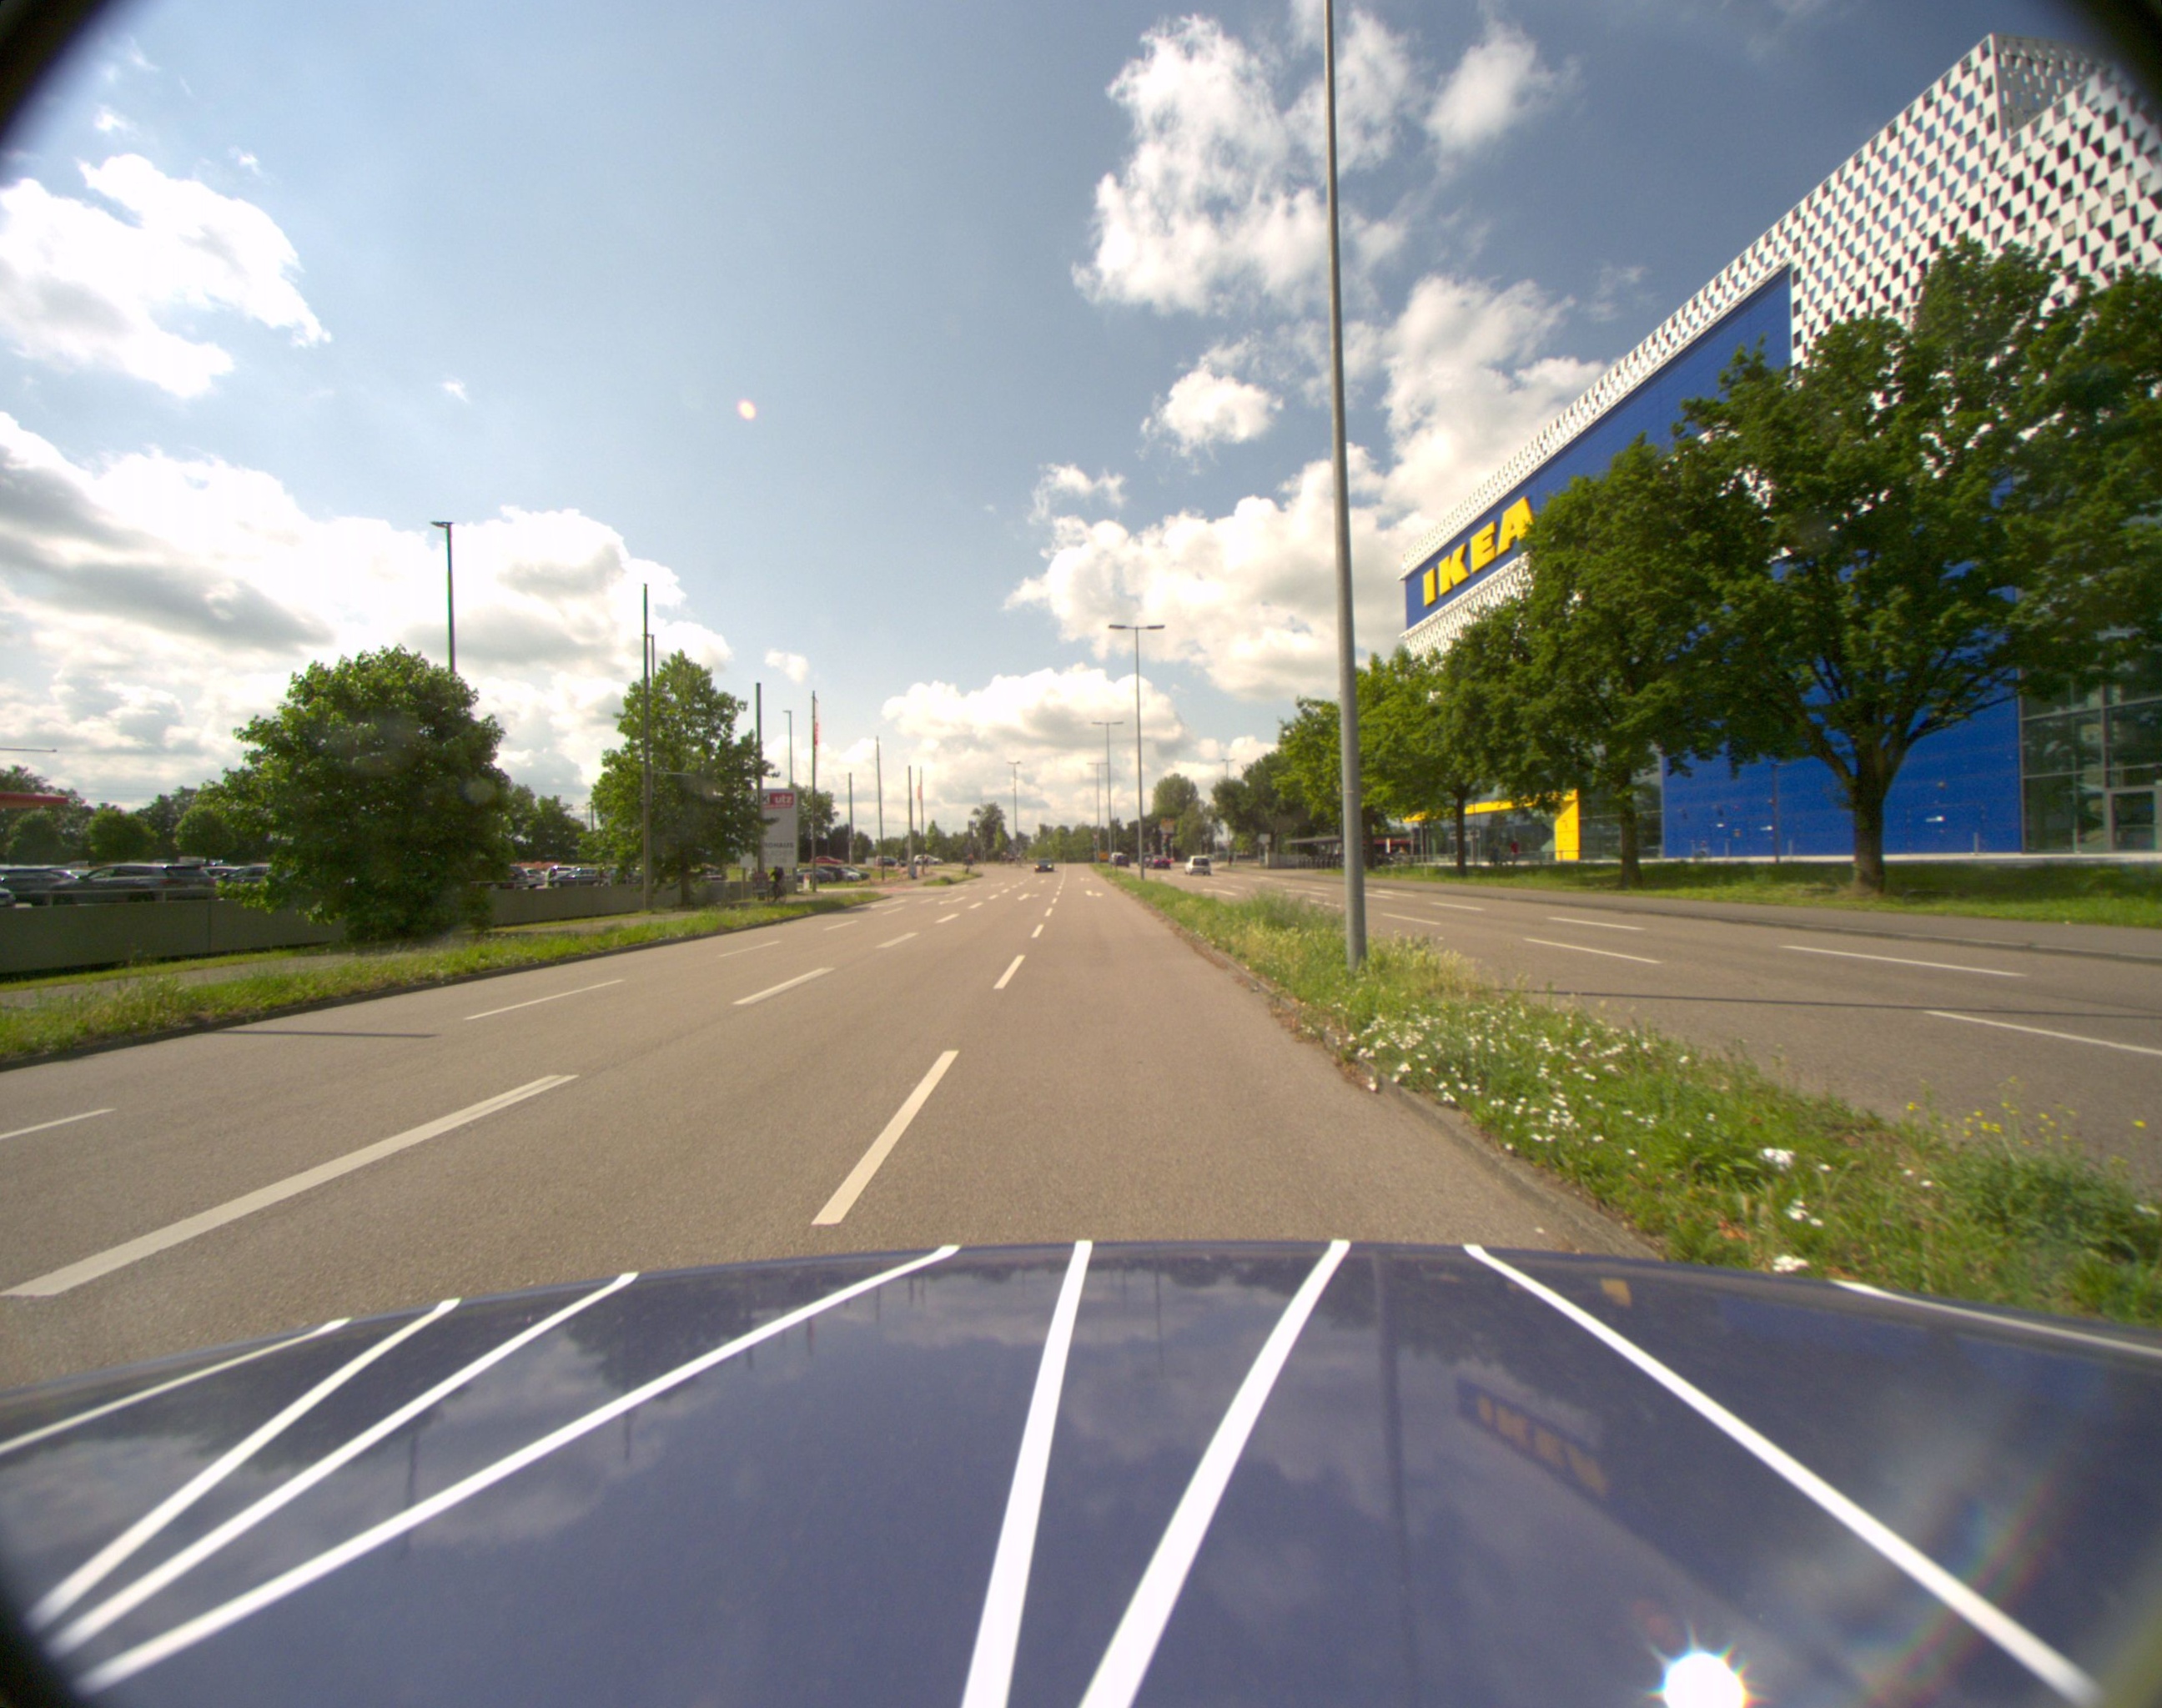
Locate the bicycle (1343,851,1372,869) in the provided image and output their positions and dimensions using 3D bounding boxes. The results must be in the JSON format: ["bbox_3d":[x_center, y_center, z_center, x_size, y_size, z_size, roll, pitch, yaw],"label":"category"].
[{"bbox_3d":[20.477,0.478,56.322,1.930,1.265,0.630,-2,0,-1],"label":"bicycle"}]

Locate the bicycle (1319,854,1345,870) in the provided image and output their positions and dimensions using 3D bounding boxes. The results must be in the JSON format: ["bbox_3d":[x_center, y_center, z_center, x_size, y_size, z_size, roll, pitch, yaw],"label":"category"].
[{"bbox_3d":[20.594,0.676,62.299,1.930,1.265,0.630,-2,0,-1],"label":"bicycle"}]

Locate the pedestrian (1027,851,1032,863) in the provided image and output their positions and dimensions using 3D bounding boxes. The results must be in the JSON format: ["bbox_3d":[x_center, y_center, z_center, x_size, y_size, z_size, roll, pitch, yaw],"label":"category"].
[{"bbox_3d":[-6.959,0.413,103.105,0.556,1.515,0.470,-2,0,8],"label":"pedestrian"}]

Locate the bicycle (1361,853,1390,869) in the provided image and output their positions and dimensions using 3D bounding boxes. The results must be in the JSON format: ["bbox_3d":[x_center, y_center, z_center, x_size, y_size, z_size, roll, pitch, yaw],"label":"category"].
[{"bbox_3d":[22.677,0.575,58.547,1.930,1.172,0.630,-2,0,-1],"label":"bicycle"}]

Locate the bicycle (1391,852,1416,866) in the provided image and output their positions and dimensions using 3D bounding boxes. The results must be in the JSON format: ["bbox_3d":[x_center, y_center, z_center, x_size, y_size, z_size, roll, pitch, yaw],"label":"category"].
[{"bbox_3d":[28.571,0.428,67.241,1.950,1.236,0.597,-1,1,-5],"label":"bicycle"}]

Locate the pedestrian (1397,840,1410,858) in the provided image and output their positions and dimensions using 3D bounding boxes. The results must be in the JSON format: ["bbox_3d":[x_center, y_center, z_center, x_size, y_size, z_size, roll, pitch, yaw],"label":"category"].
[{"bbox_3d":[30.923,-0.444,72.837,0.898,1.697,0.710,-1,1,-1],"label":"pedestrian"}]

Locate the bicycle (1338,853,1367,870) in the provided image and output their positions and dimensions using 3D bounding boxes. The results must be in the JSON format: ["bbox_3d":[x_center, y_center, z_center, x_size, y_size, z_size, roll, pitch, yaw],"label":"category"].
[{"bbox_3d":[20.531,0.559,57.417,1.930,1.176,0.630,-2,0,-1],"label":"bicycle"}]

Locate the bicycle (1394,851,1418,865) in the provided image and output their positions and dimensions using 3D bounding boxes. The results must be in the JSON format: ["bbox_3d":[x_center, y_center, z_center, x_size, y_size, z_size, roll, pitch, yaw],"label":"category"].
[{"bbox_3d":[29.070,0.320,67.972,1.939,1.202,0.529,-1,1,-5],"label":"bicycle"}]

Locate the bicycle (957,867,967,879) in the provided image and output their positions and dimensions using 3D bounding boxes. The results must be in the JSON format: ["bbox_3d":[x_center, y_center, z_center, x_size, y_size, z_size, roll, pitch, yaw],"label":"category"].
[{"bbox_3d":[-9.577,1.527,61.082,0.518,0.947,1.543,-2,1,-1],"label":"bicycle"}]

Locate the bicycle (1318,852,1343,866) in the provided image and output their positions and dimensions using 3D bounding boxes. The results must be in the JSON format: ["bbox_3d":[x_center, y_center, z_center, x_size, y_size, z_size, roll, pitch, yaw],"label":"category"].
[{"bbox_3d":[22.439,0.450,68.342,1.930,1.265,0.630,-2,0,-1],"label":"bicycle"}]

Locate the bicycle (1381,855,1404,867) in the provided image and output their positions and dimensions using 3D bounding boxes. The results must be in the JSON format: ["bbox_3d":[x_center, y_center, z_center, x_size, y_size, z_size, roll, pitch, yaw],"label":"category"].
[{"bbox_3d":[28.504,0.603,69.468,1.939,1.064,0.529,-1,1,-5],"label":"bicycle"}]

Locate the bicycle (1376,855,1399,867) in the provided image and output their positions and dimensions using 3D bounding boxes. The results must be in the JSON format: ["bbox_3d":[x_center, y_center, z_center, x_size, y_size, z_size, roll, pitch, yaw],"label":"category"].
[{"bbox_3d":[28.455,0.641,70.550,1.935,1.083,0.520,-2,0,-4],"label":"bicycle"}]

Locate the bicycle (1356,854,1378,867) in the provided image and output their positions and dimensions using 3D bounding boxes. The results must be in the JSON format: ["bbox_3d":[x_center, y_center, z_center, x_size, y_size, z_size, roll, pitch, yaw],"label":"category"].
[{"bbox_3d":[27.912,0.647,74.249,1.961,1.165,0.467,-2,0,-5],"label":"bicycle"}]

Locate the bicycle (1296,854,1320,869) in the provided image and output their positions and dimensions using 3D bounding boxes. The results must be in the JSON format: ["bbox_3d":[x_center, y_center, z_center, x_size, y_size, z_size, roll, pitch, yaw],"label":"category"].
[{"bbox_3d":[20.395,0.705,68.314,1.930,1.265,0.630,-2,0,-1],"label":"bicycle"}]

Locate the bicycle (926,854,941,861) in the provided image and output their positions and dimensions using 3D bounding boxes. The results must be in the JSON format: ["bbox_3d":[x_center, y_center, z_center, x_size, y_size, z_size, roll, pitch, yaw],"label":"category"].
[{"bbox_3d":[-19.136,0.468,98.519,1.700,0.955,0.664,-1,-1,-43],"label":"bicycle"}]

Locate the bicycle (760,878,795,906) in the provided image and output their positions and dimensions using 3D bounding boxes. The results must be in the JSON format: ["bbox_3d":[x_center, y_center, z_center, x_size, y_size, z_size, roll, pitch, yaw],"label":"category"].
[{"bbox_3d":[-12.422,1.533,31.186,0.625,1.061,1.968,0,-1,0],"label":"bicycle"}]

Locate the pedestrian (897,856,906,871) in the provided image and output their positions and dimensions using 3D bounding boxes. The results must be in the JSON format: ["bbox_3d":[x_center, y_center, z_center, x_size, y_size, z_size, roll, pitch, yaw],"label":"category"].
[{"bbox_3d":[-22.173,1.140,93.984,0.865,1.753,0.863,2,-3,-4],"label":"pedestrian"}]

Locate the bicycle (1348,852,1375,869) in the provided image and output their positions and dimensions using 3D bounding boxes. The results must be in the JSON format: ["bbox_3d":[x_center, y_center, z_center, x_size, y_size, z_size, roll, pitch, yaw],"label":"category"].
[{"bbox_3d":[22.615,0.531,61.328,1.930,1.265,0.630,-2,0,-1],"label":"bicycle"}]

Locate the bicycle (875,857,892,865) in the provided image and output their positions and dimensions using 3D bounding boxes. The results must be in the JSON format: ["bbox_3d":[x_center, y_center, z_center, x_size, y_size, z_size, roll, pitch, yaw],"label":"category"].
[{"bbox_3d":[-25.026,0.868,96.141,1.988,0.955,0.596,-2,-1,-11],"label":"bicycle"}]

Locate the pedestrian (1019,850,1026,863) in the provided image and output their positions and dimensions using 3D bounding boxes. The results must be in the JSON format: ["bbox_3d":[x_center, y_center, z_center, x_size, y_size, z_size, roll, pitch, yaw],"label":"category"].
[{"bbox_3d":[-7.786,0.372,100.932,0.688,1.718,0.701,0,2,11],"label":"pedestrian"}]

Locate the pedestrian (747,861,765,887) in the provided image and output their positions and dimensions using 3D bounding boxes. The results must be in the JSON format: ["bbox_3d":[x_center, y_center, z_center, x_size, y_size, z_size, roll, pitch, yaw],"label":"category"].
[{"bbox_3d":[-22.377,1.370,52.320,0.874,1.771,0.782,-1,-1,-43],"label":"pedestrian"}]

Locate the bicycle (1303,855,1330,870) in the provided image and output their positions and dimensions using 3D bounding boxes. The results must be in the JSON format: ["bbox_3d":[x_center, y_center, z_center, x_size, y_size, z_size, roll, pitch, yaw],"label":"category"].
[{"bbox_3d":[20.436,0.716,65.958,2.094,1.265,0.630,-2,0,-1],"label":"bicycle"}]

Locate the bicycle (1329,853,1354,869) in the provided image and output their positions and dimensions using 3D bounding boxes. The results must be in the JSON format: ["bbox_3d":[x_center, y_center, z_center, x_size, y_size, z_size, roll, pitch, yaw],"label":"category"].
[{"bbox_3d":[22.665,0.622,66.036,1.930,1.265,0.630,-2,0,-1],"label":"bicycle"}]

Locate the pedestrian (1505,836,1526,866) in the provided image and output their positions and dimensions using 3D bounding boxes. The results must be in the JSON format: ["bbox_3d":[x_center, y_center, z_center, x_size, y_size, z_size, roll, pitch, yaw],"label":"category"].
[{"bbox_3d":[26.818,-0.158,46.925,0.755,1.812,0.887,-2,0,0],"label":"pedestrian"}]

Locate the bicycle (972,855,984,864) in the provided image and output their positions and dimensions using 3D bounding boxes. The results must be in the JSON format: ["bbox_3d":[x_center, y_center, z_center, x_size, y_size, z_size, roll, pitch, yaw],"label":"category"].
[{"bbox_3d":[-13.785,0.693,101.845,1.506,1.158,0.620,-1,-1,-23],"label":"bicycle"}]

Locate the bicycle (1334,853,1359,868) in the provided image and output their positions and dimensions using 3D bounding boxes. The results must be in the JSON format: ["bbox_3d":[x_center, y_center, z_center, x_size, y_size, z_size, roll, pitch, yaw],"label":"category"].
[{"bbox_3d":[22.616,0.569,64.713,1.930,1.265,0.630,-2,0,-1],"label":"bicycle"}]

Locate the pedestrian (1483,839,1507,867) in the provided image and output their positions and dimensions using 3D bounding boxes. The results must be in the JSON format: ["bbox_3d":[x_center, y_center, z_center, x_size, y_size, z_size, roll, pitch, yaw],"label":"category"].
[{"bbox_3d":[25.366,-0.062,46.586,0.952,1.692,0.887,-2,0,0],"label":"pedestrian"}]

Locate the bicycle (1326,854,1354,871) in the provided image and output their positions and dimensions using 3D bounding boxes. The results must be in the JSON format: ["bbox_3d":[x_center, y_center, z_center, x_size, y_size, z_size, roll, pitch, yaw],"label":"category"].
[{"bbox_3d":[20.394,0.663,59.834,1.930,1.265,0.630,-2,0,-1],"label":"bicycle"}]

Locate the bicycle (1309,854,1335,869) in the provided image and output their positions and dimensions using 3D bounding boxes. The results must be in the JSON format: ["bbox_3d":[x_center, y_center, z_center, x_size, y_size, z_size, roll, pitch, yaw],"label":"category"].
[{"bbox_3d":[20.512,0.644,64.671,1.930,1.265,0.630,-2,0,-1],"label":"bicycle"}]

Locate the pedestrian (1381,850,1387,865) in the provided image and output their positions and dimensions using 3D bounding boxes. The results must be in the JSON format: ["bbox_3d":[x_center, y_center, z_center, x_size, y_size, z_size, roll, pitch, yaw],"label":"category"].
[{"bbox_3d":[35.186,0.396,88.214,0.410,1.693,0.516,-2,0,-6],"label":"pedestrian"}]

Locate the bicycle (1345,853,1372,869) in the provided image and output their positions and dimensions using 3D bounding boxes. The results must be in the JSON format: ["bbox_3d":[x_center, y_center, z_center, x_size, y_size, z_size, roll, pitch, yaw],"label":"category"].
[{"bbox_3d":[22.747,0.560,62.339,1.930,1.265,0.630,-2,0,-1],"label":"bicycle"}]

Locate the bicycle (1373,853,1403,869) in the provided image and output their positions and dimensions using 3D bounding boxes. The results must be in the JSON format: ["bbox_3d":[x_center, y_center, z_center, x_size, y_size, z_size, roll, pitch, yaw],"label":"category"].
[{"bbox_3d":[22.772,0.532,56.409,1.930,1.177,0.630,-2,0,-1],"label":"bicycle"}]

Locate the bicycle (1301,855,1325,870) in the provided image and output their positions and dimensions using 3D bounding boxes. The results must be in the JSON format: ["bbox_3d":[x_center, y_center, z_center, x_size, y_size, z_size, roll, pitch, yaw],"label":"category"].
[{"bbox_3d":[20.447,0.728,66.967,1.930,1.265,0.630,-2,0,-1],"label":"bicycle"}]
